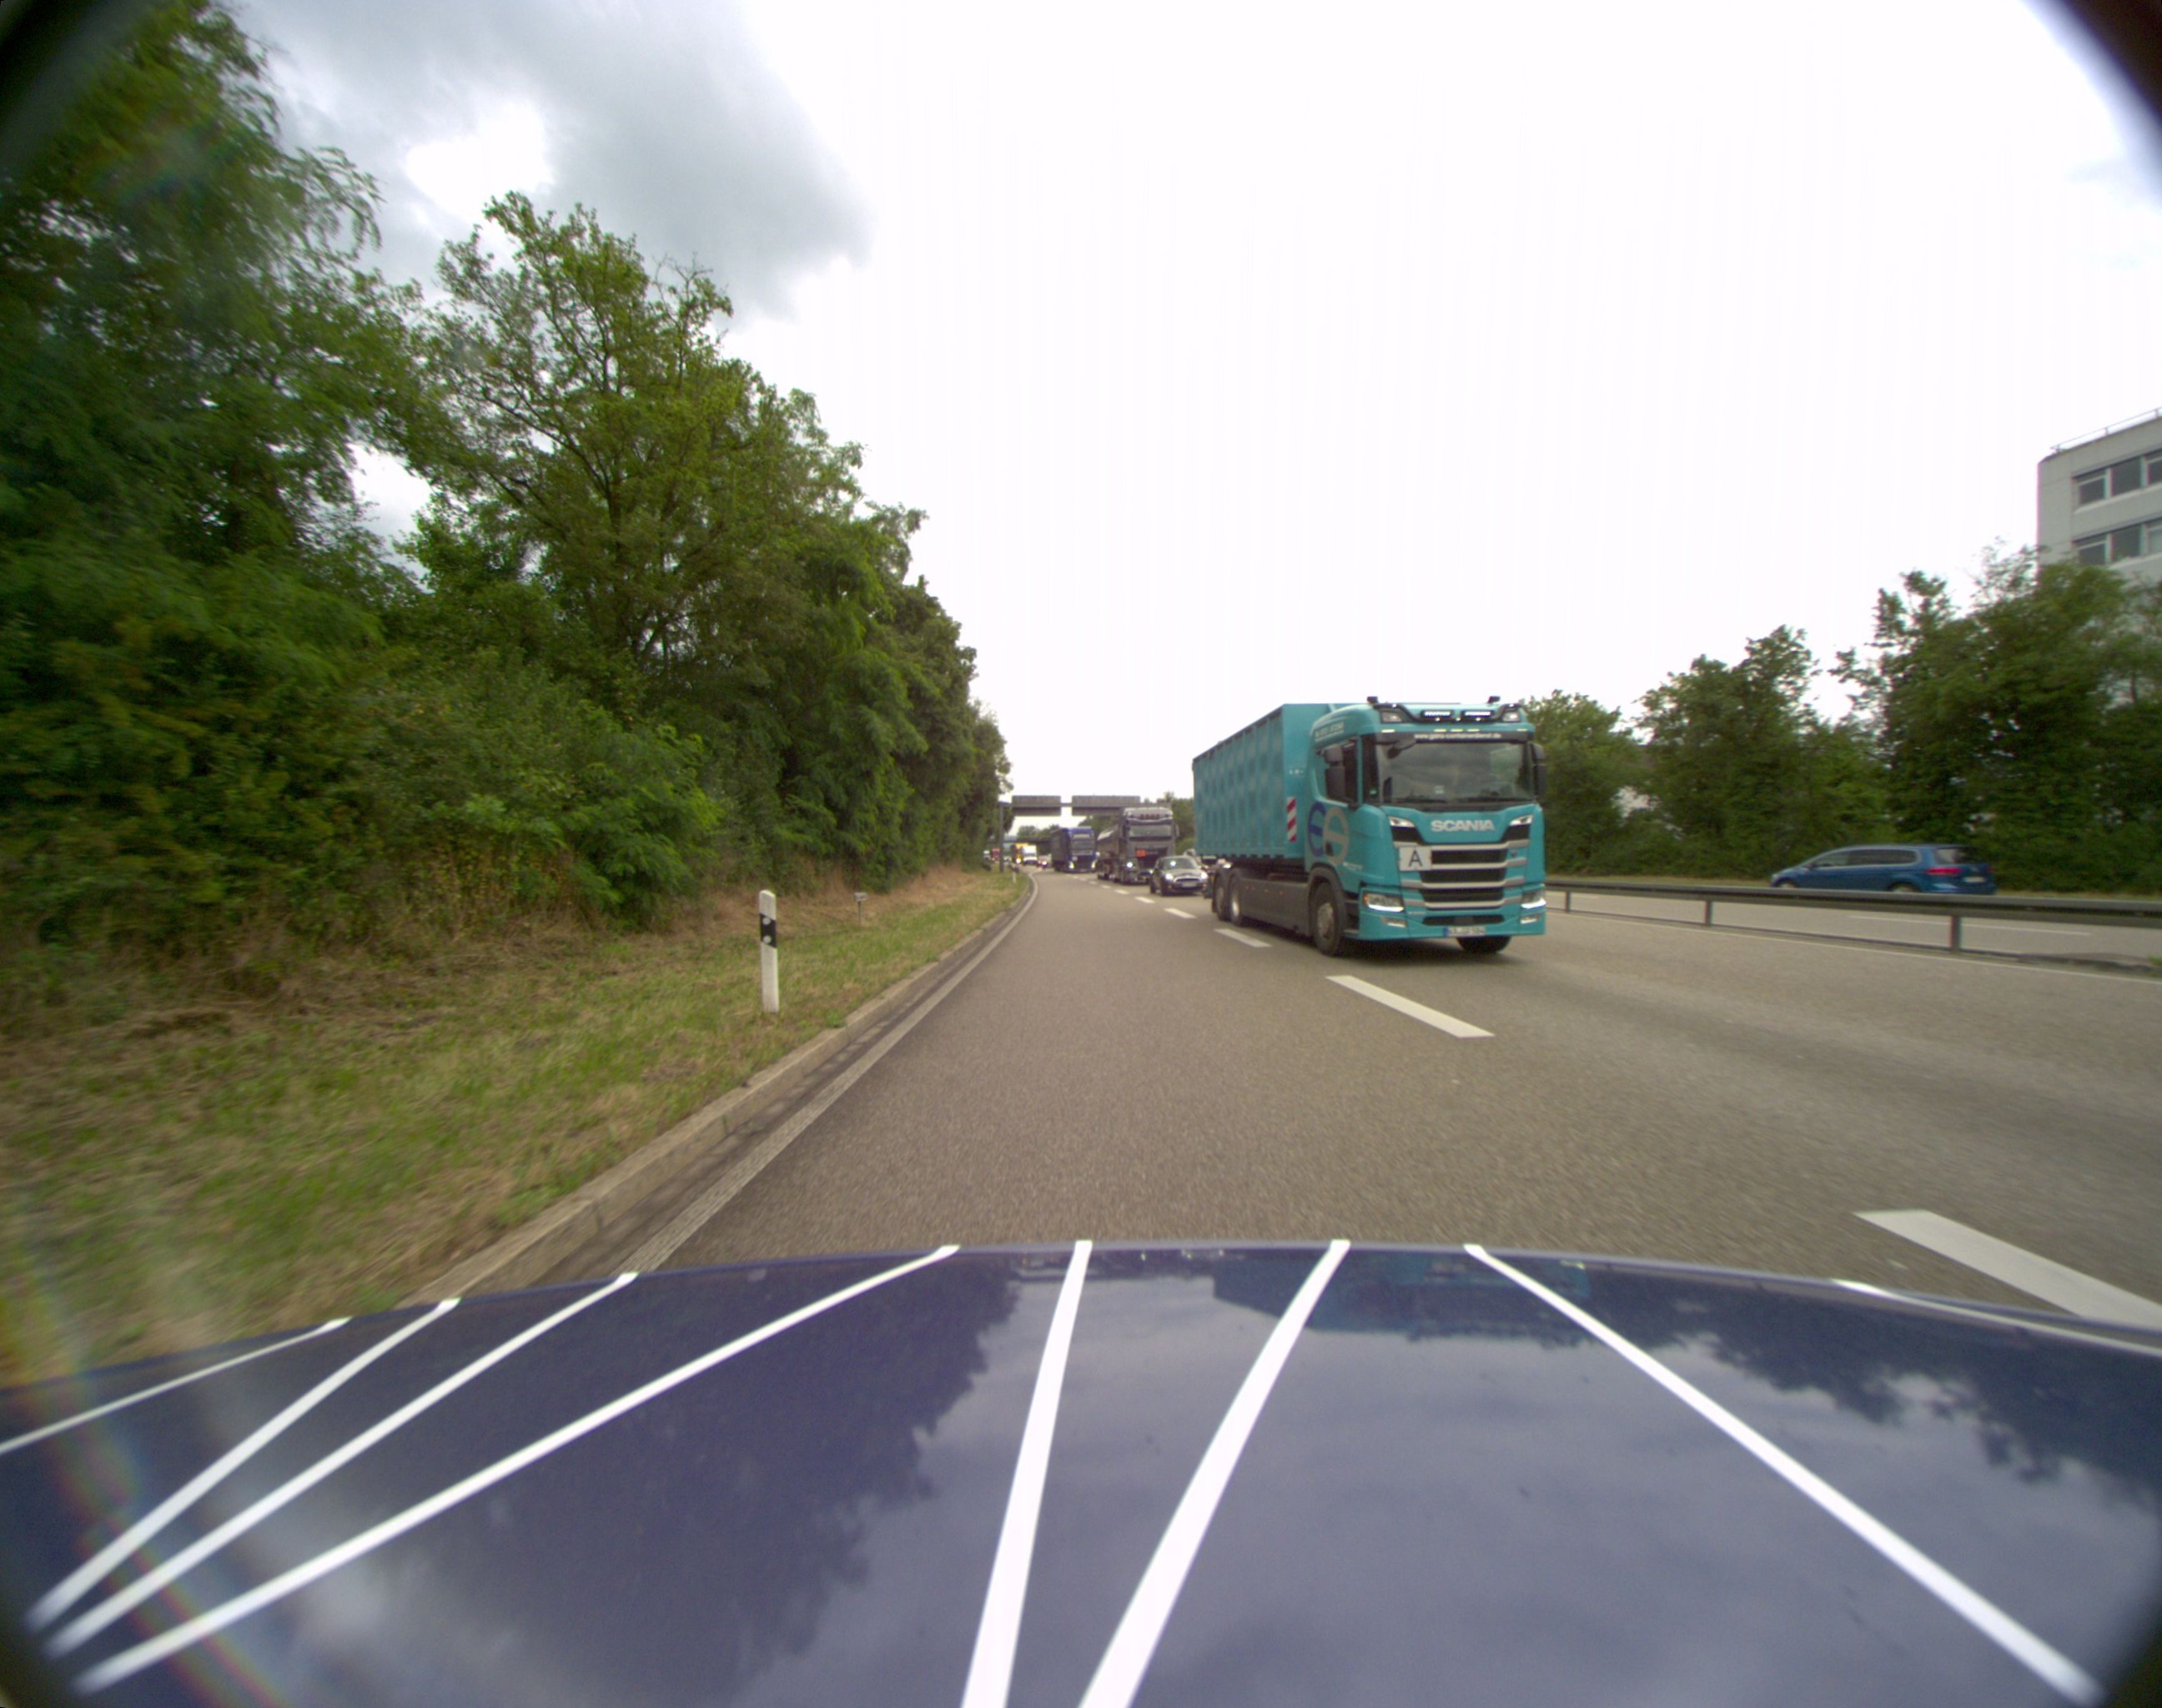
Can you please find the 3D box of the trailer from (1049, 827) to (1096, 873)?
[{"bbox_3d":[-1.002,-0.422,74.431,2.847,4.013,13.075,-2,1,-8],"label":"trailer"}]

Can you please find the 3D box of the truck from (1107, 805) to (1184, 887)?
[{"bbox_3d":[3.209,-0.404,39.779,2.691,3.884,6.931,-1,0,-7],"label":"truck"}]

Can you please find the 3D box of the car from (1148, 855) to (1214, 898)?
[{"bbox_3d":[3.594,0.766,27.843,1.752,1.413,3.662,-1,1,-3],"label":"car"}]

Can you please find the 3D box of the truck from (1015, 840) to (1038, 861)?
[{"bbox_3d":[-10.947,-0.754,151.830,3.368,4.041,10.174,-2,1,-9],"label":"truck"}]

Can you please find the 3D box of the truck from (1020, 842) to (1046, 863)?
[{"bbox_3d":[-7.775,-0.256,122.642,3.368,3.099,7.233,-2,1,-10],"label":"truck"}]

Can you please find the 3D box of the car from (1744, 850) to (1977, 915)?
[{"bbox_3d":[21.239,0.689,21.015,1.632,1.588,4.423,-1,0,-6],"label":"car"}]

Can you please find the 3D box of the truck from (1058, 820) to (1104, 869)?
[{"bbox_3d":[-0.094,-0.811,67.038,2.963,3.946,7.465,-2,0,-7],"label":"truck"}]

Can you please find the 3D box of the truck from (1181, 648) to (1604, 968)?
[{"bbox_3d":[4.481,-0.553,14.704,2.937,3.774,11.326,0,0,-4],"label":"truck"}]

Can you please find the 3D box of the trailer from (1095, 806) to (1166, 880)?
[{"bbox_3d":[2.739,-0.575,45.719,2.691,3.884,10.982,-1,0,-4],"label":"trailer"}]

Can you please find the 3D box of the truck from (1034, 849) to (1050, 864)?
[{"bbox_3d":[-5.357,0.364,103.534,1.895,2.002,6.087,0,0,-5],"label":"truck"}]

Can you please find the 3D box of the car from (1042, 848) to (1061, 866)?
[{"bbox_3d":[-3.491,0.314,89.175,1.752,2.002,3.996,-1,0,-10],"label":"car"}]
